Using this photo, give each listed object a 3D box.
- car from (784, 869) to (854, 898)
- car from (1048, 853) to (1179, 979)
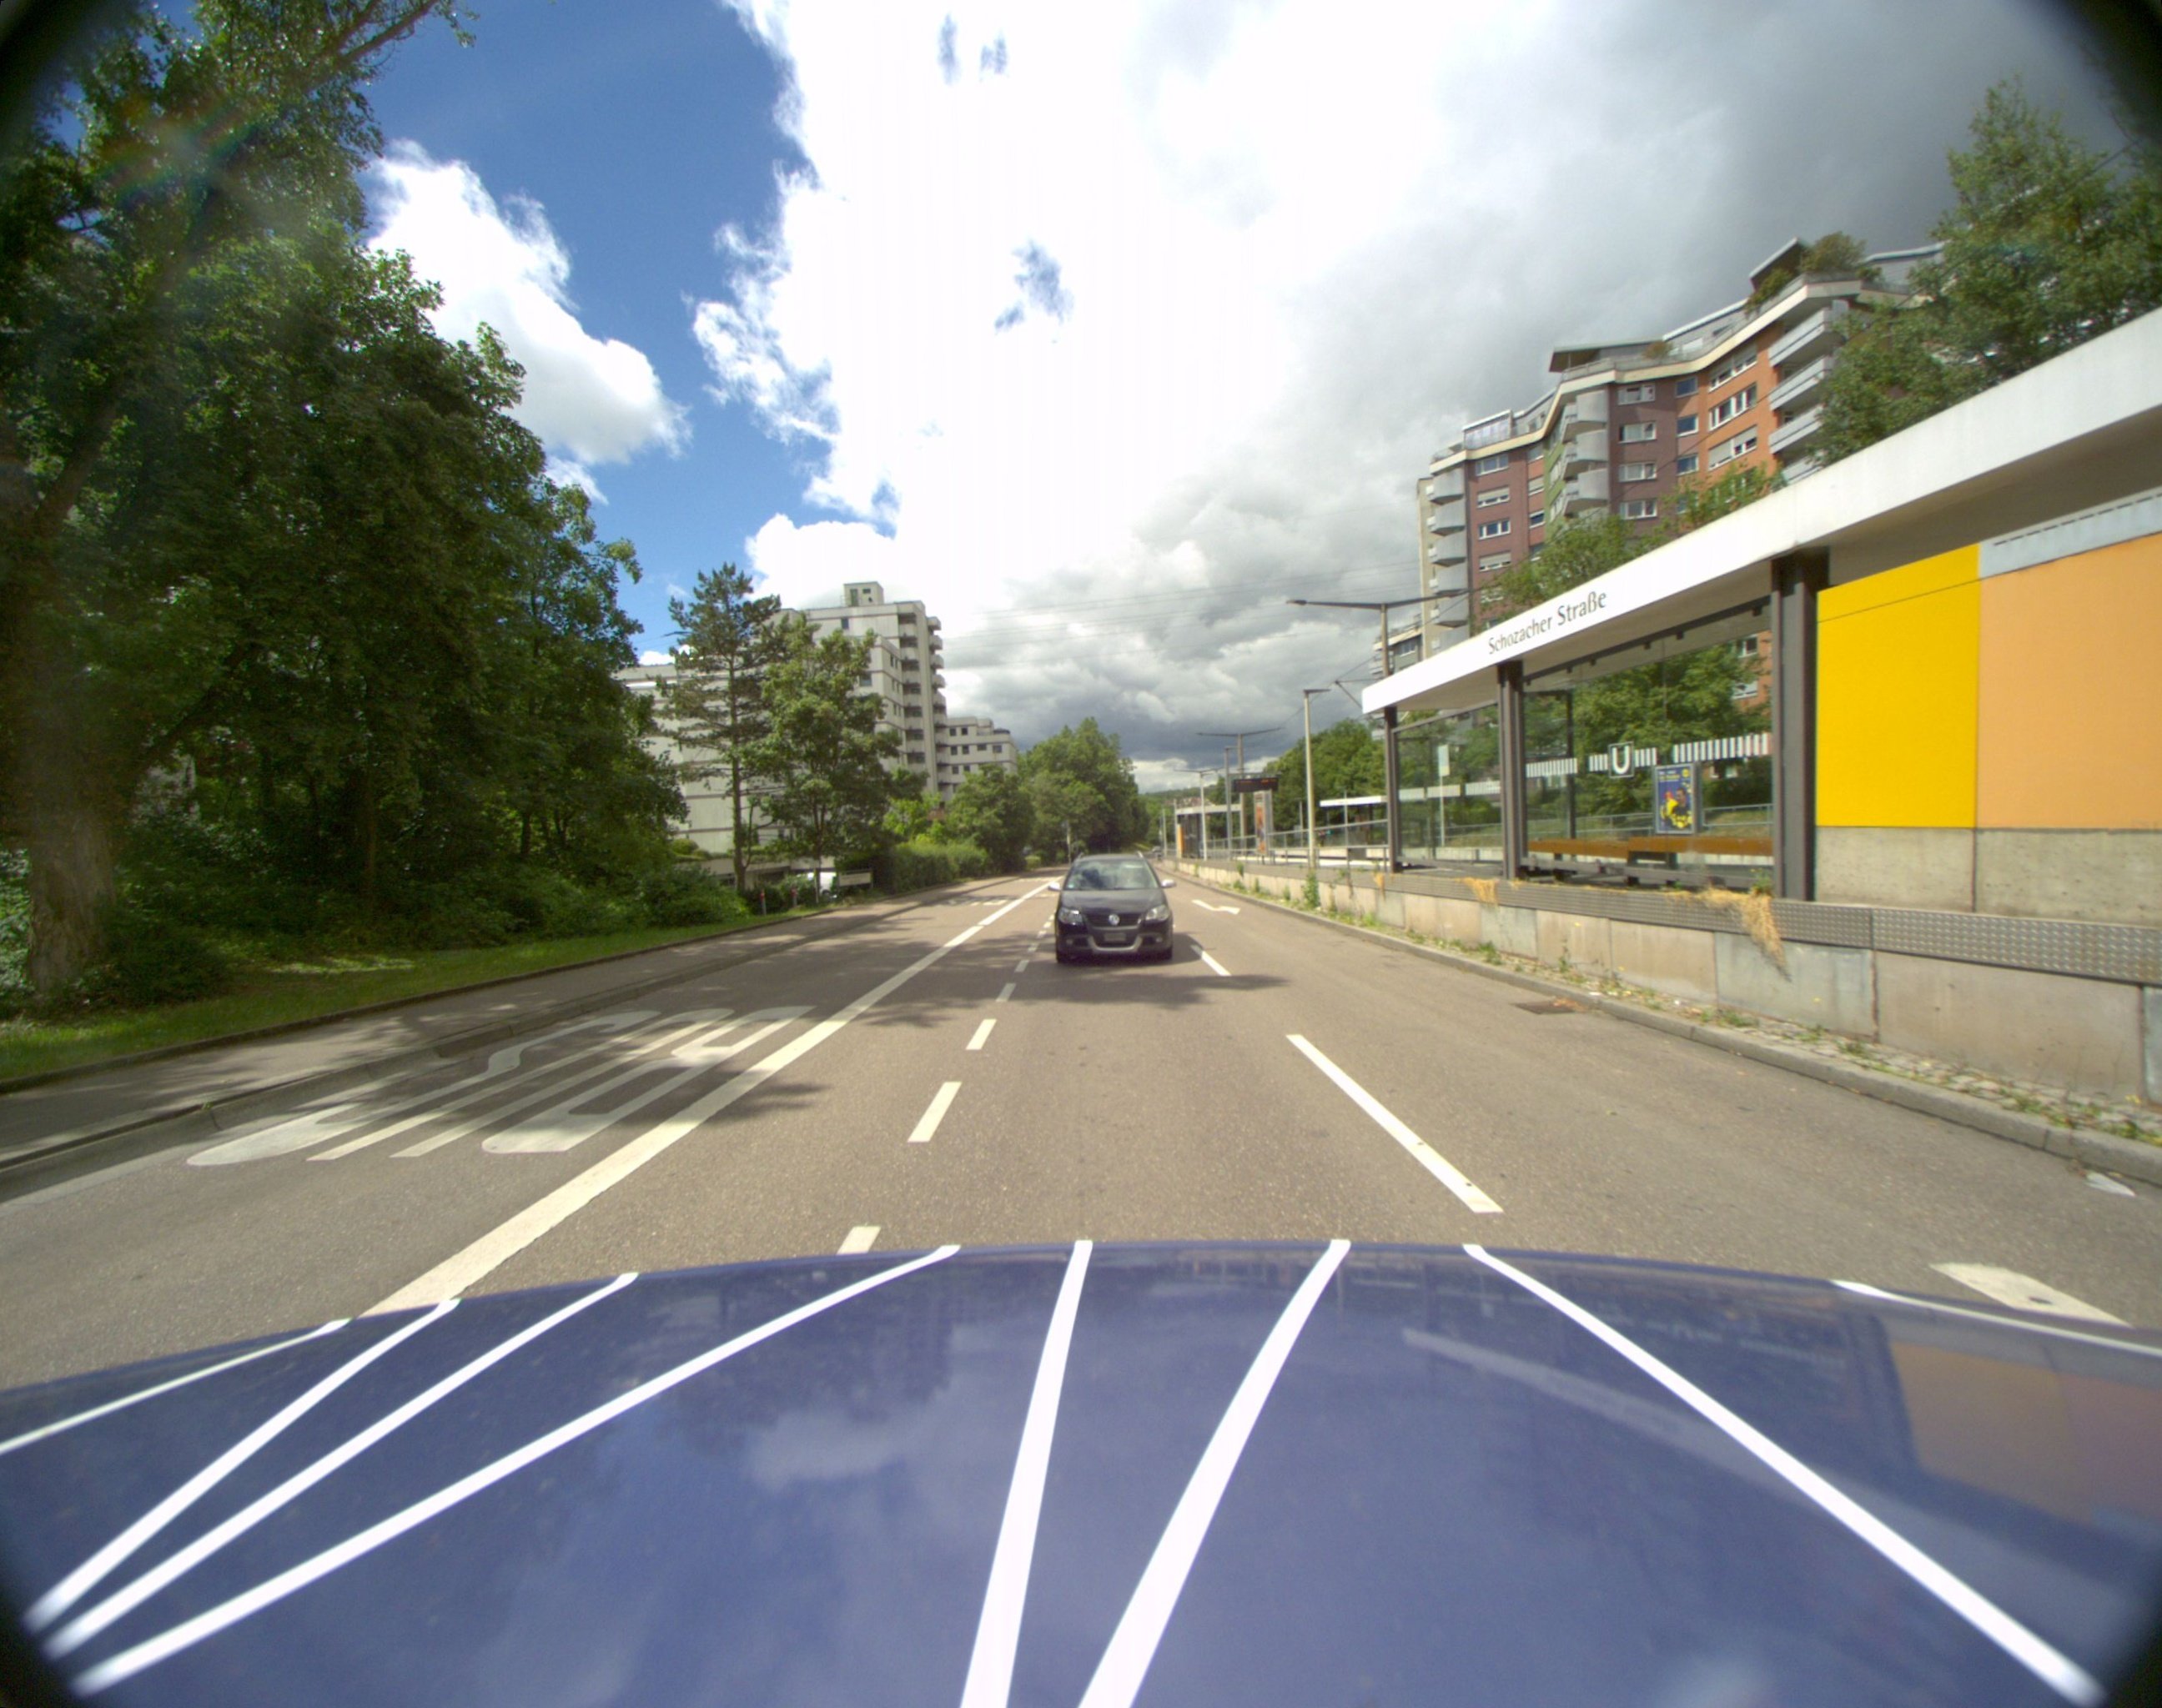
[{"bbox_3d":[-19.906,2.245,57.823,4.543,2.002,2.001,-2,1,6],"label":"car"},{"bbox_3d":[0.587,0.803,11.829,1.641,1.521,4.001,-2,1,5],"label":"car"}]
